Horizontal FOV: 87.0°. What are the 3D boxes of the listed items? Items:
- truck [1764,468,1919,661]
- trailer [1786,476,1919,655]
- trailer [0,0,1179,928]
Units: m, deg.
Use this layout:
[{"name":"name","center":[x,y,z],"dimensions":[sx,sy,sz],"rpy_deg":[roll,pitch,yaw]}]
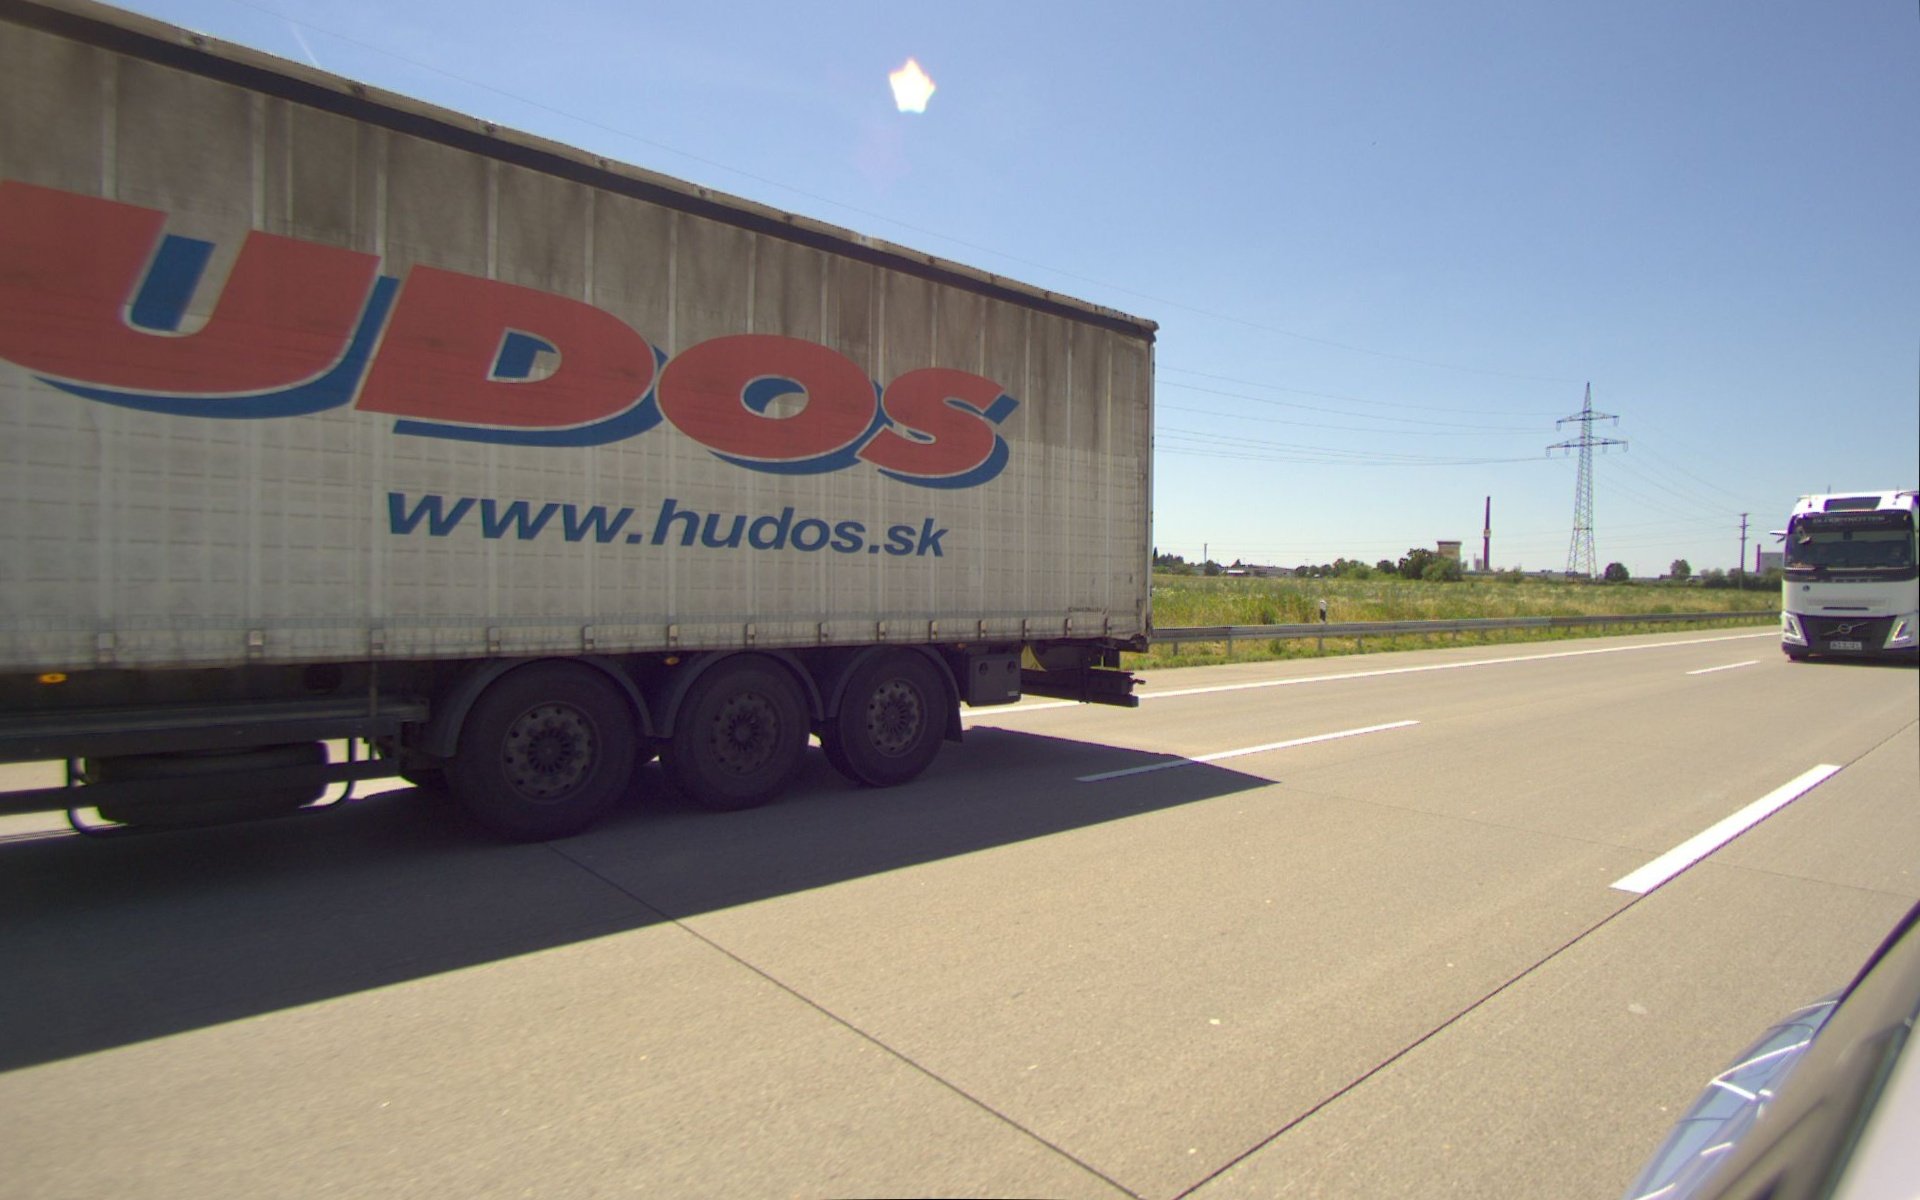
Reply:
[{"name":"truck","center":[21.777,-0.765,24.254],"dimensions":[5.382,4.114,2.989],"rpy_deg":[0,0,-41]},{"name":"trailer","center":[26.780,-0.810,28.587],"dimensions":[13.958,4.112,3.023],"rpy_deg":[0,0,-41]},{"name":"trailer","center":[-3.841,-0.734,6.200],"dimensions":[13.278,4.152,2.878],"rpy_deg":[0,0,-42]}]
